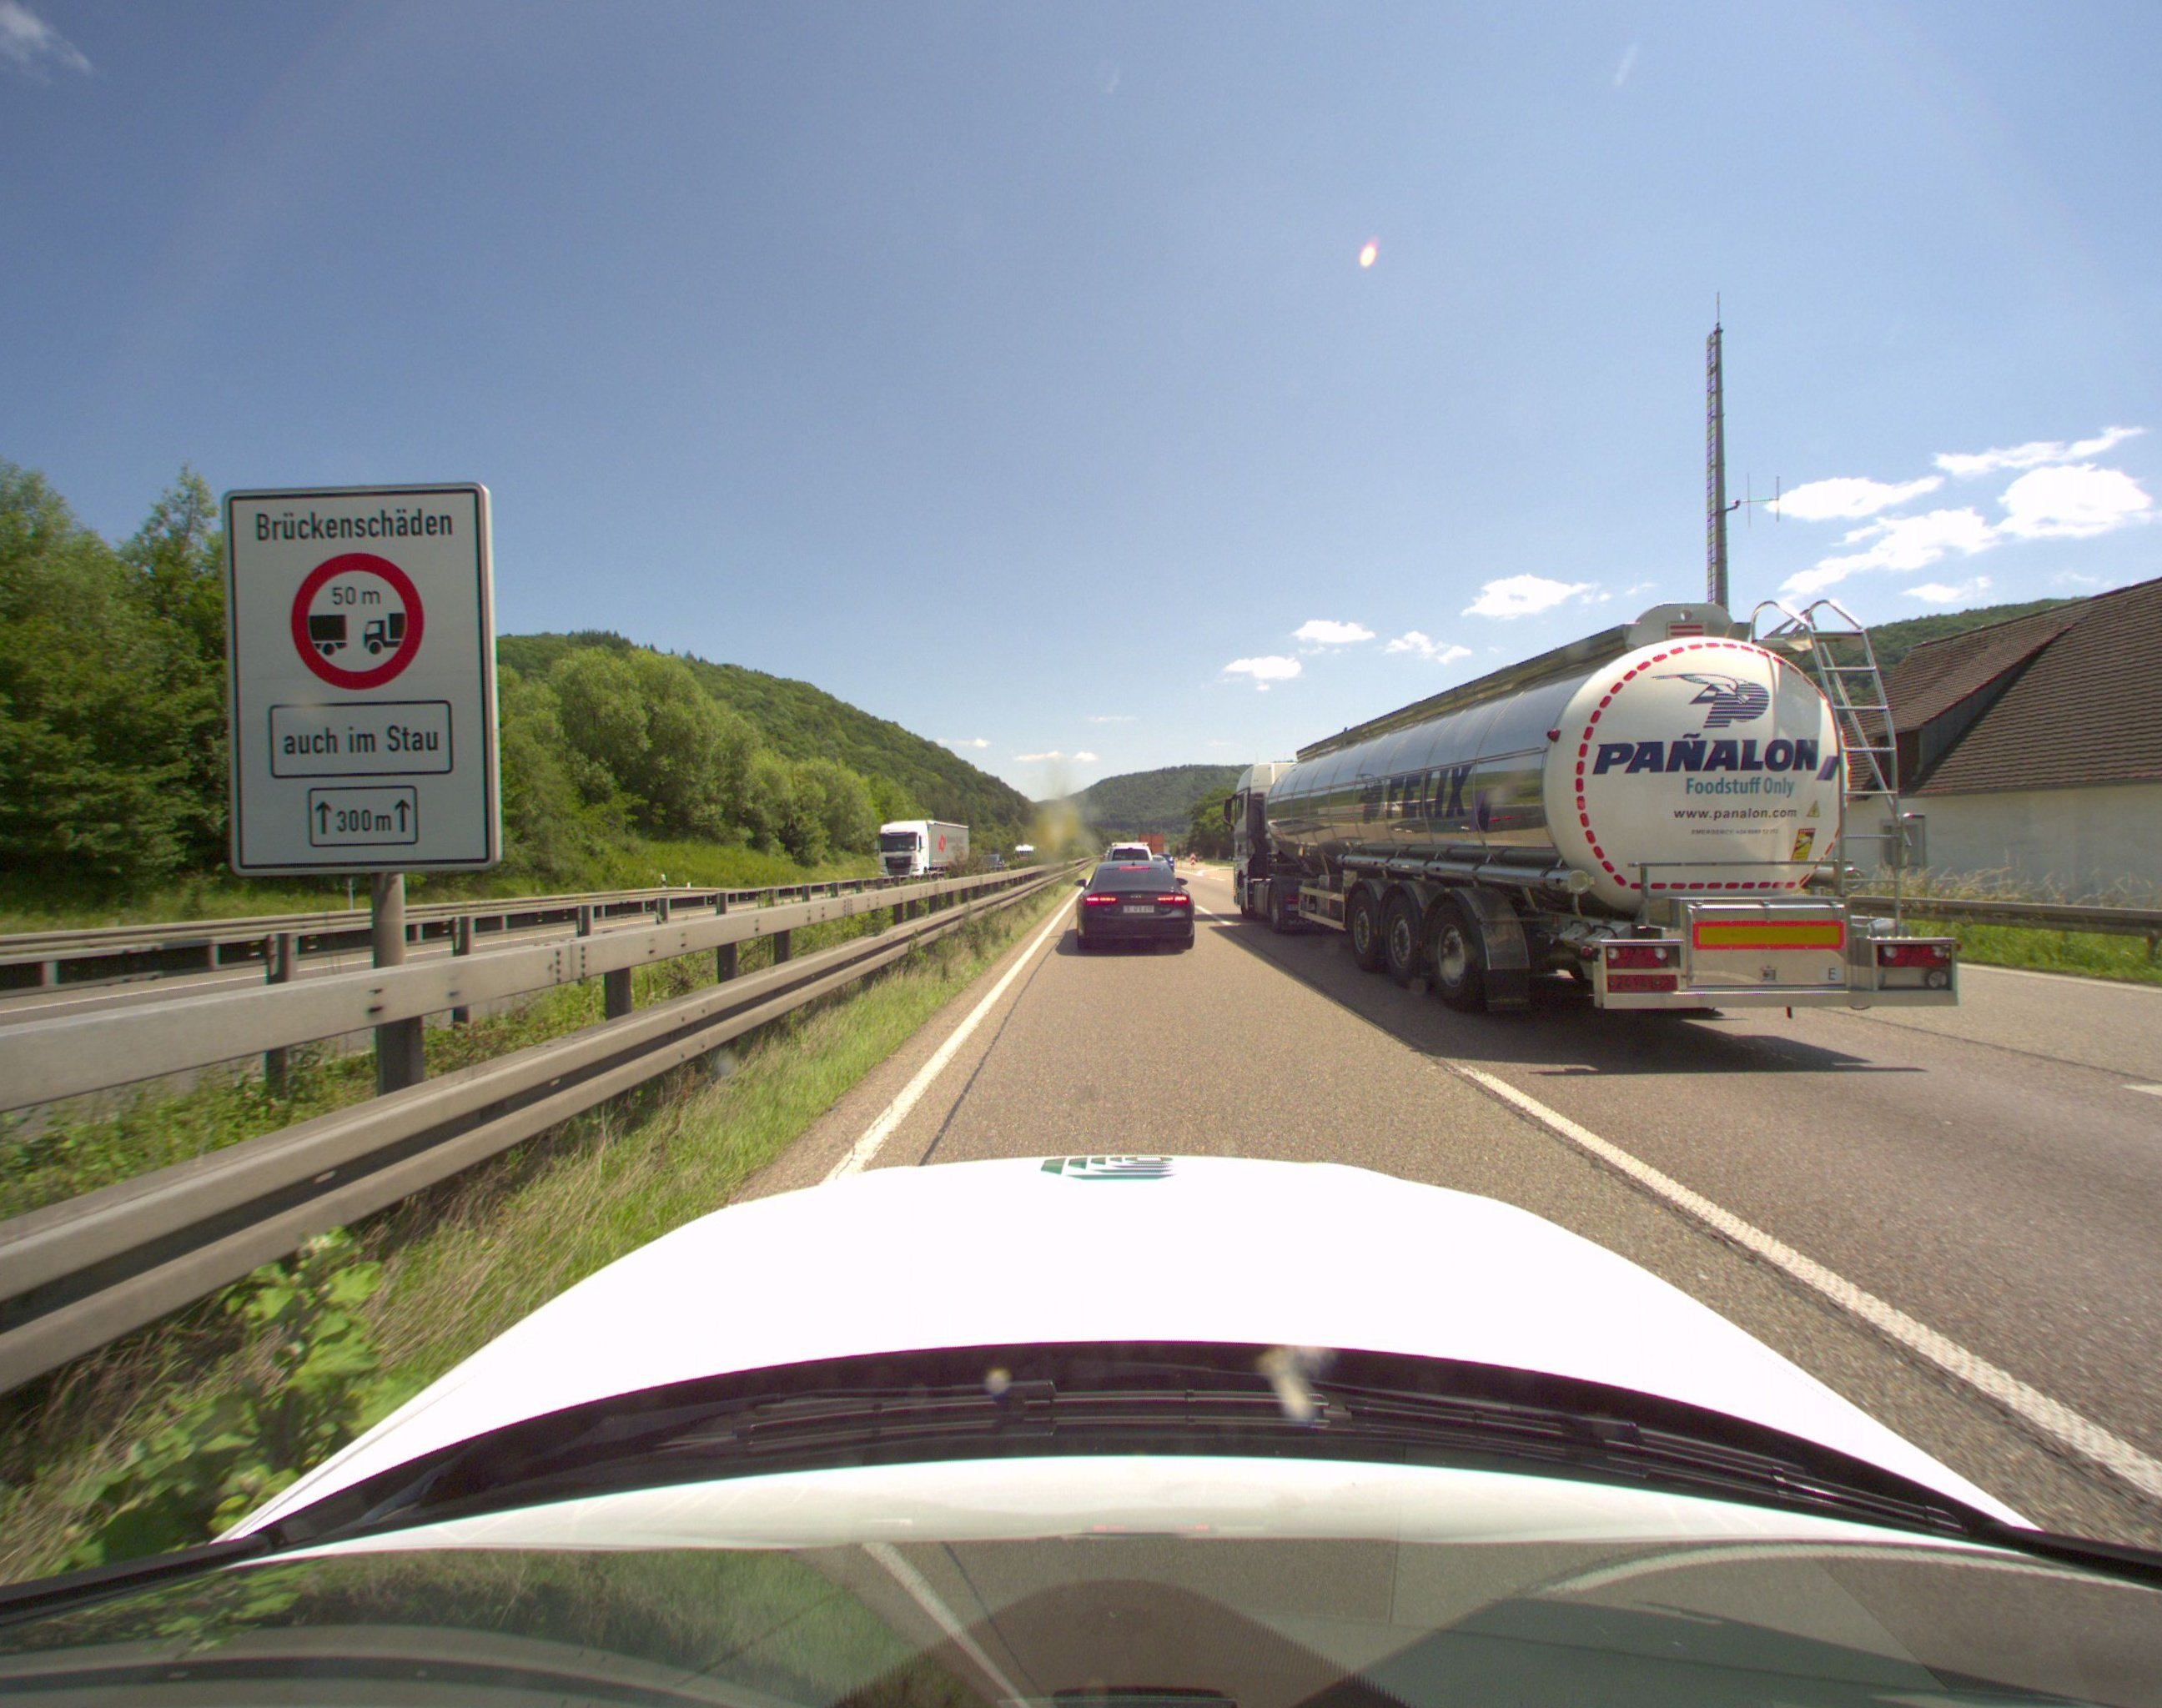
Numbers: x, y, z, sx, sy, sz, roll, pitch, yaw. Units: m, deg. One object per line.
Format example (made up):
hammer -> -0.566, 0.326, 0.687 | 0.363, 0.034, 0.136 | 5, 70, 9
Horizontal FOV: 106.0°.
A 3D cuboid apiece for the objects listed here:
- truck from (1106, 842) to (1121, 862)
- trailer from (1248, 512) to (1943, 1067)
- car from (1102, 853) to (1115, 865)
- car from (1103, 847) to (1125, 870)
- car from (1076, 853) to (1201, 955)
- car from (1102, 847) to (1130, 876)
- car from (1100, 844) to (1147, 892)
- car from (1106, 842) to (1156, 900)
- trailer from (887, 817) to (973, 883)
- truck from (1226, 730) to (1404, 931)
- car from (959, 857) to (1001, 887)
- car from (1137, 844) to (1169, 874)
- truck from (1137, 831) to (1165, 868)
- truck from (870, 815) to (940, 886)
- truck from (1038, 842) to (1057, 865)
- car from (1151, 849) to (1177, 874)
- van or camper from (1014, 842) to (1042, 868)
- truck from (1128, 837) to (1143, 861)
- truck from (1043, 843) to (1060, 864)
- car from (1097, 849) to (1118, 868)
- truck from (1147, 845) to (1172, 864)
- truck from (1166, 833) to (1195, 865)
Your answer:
truck -> 6.090, -0.392, 150.118 | 2.618, 3.440, 11.428 | -2, 0, 3
trailer -> 4.700, -0.430, 11.465 | 2.529, 3.735, 11.895 | -1, 0, 2
car -> 3.827, 0.715, 113.437 | 1.705, 1.618, 4.003 | -2, 0, 3
car -> 3.026, 0.438, 75.602 | 1.986, 2.013, 4.001 | -2, 0, 2
car -> 0.860, 0.750, 14.129 | 1.843, 1.488, 4.082 | -1, 0, 0
car -> 2.558, 0.554, 60.590 | 1.986, 2.013, 4.001 | -2, 0, 2
car -> 1.893, 0.601, 36.824 | 1.986, 2.013, 4.002 | -1, 0, 2
car -> 1.670, 0.548, 28.137 | 1.570, 1.833, 4.002 | -1, 0, 2
trailer -> -10.234, -0.214, 57.021 | 2.771, 4.000, 14.167 | -1, 0, 2
truck -> 4.880, -0.435, 17.964 | 2.502, 3.758, 5.247 | -1, 0, 1
car -> -6.332, 1.103, 51.461 | 1.915, 1.797, 4.601 | -1, 0, 1
car -> 4.975, 0.327, 56.976 | 1.986, 2.013, 4.002 | -2, 0, 2
truck -> 8.149, -0.435, 96.047 | 2.806, 4.003, 14.966 | -1, 0, 3
truck -> -10.538, -0.188, 49.349 | 2.717, 4.001, 5.372 | -2, 0, 2
truck -> -6.155, -0.102, 151.779 | 2.858, 4.006, 10.174 | -1, 0, 2
car -> 6.928, 0.609, 68.411 | 1.985, 2.002, 4.003 | -2, 0, 3
van or camper -> -7.337, 0.153, 113.107 | 2.577, 3.335, 7.659 | -2, 0, 5
truck -> 8.475, -0.707, 126.452 | 1.986, 3.447, 11.818 | -1, 0, 2
truck -> -5.809, -0.088, 161.412 | 2.858, 3.980, 9.035 | -1, 0, 2
car -> 2.376, 0.363, 71.952 | 1.705, 1.618, 4.003 | -2, 0, 3
truck -> 19.441, 0.124, 201.394 | 3.766, 4.414, 15.013 | -2, 0, 14
truck -> 13.094, -0.605, 108.097 | 2.806, 4.003, 14.966 | -1, 0, 3
